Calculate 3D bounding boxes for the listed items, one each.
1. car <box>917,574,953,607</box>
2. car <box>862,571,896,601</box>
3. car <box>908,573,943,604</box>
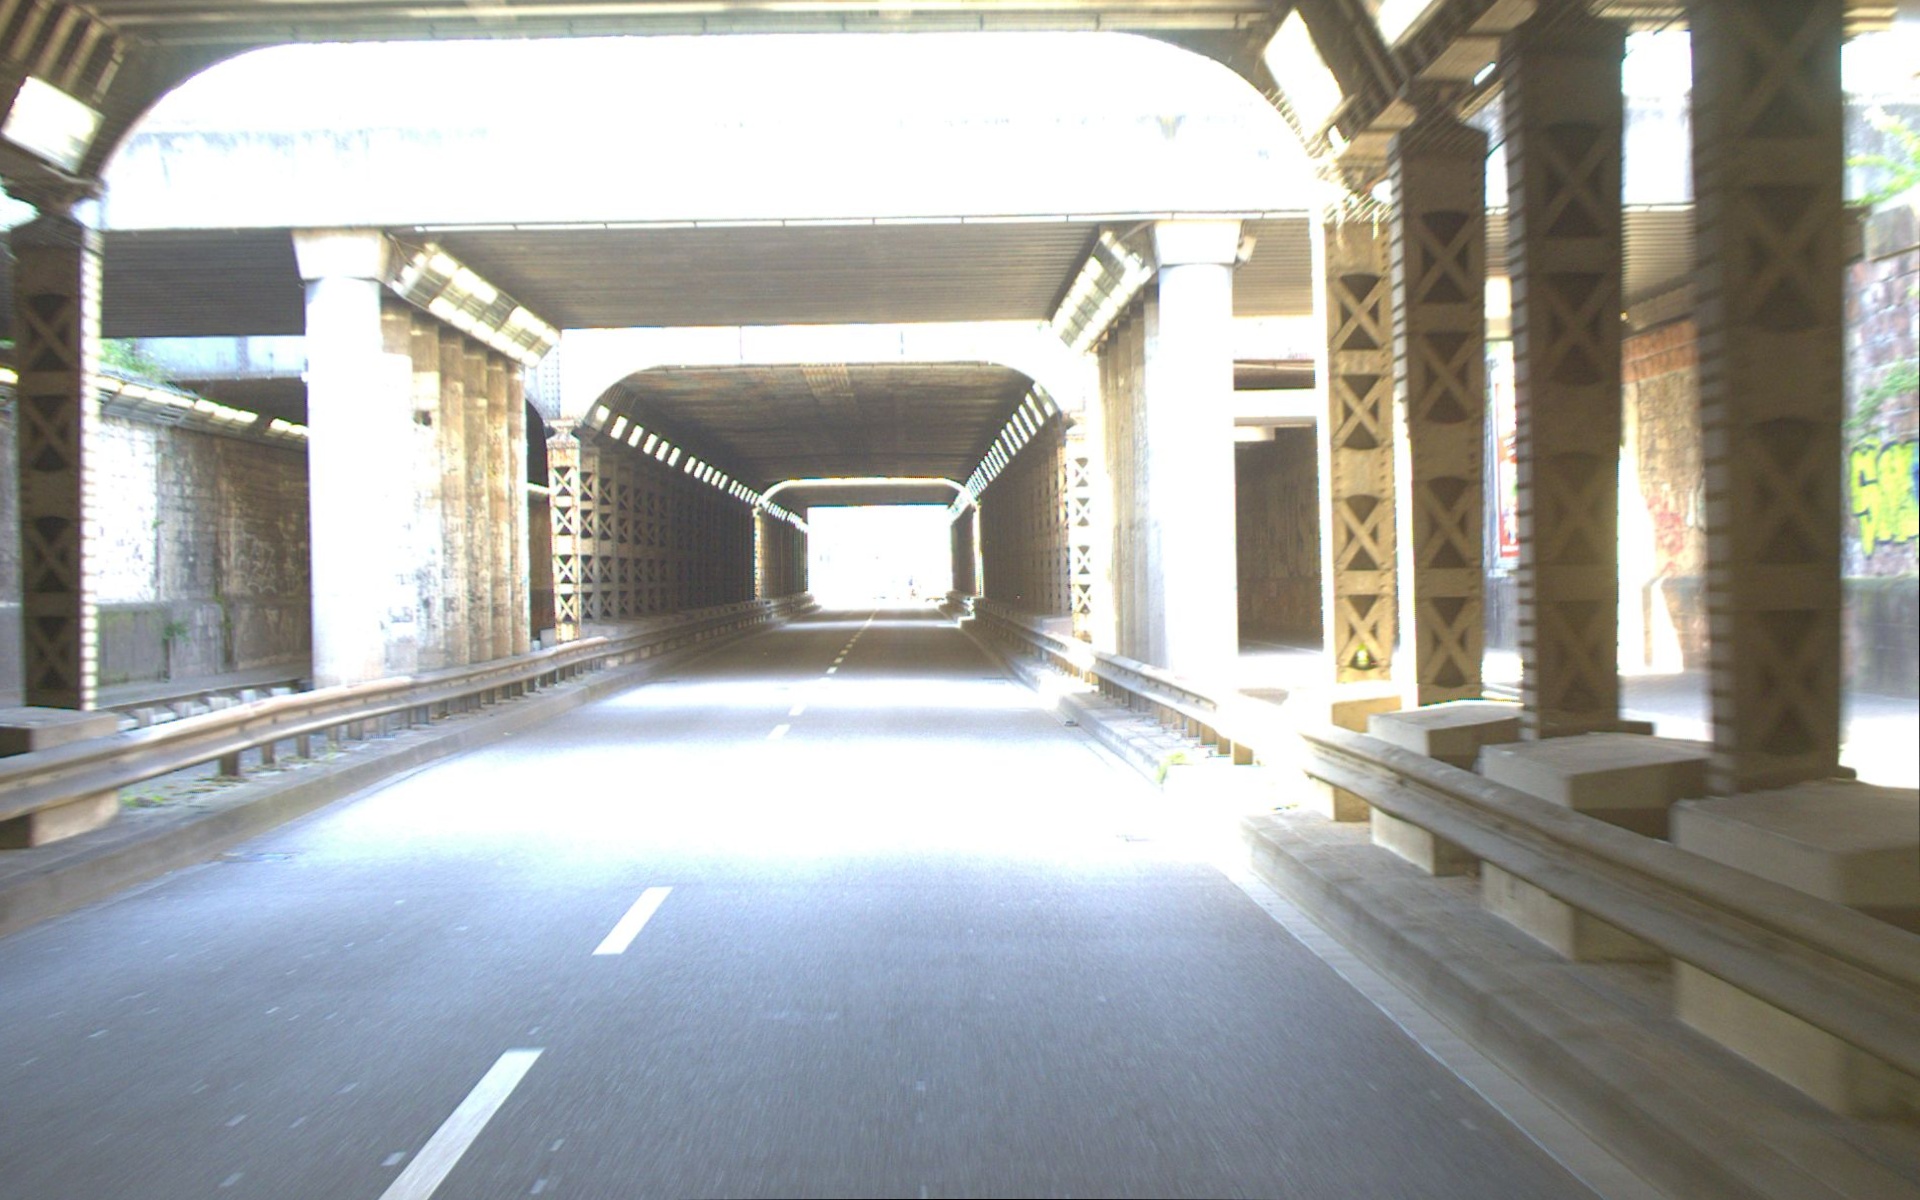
[{"bbox_3d":[-1.393,-0.538,190.012,1.993,1.778,4.000,0,0,-1],"label":"car"},{"bbox_3d":[-4.838,-0.828,205.949,1.993,1.778,4.000,0,0,-1],"label":"car"},{"bbox_3d":[-2.008,-0.675,199.343,1.993,1.778,4.000,0,0,-1],"label":"car"}]
